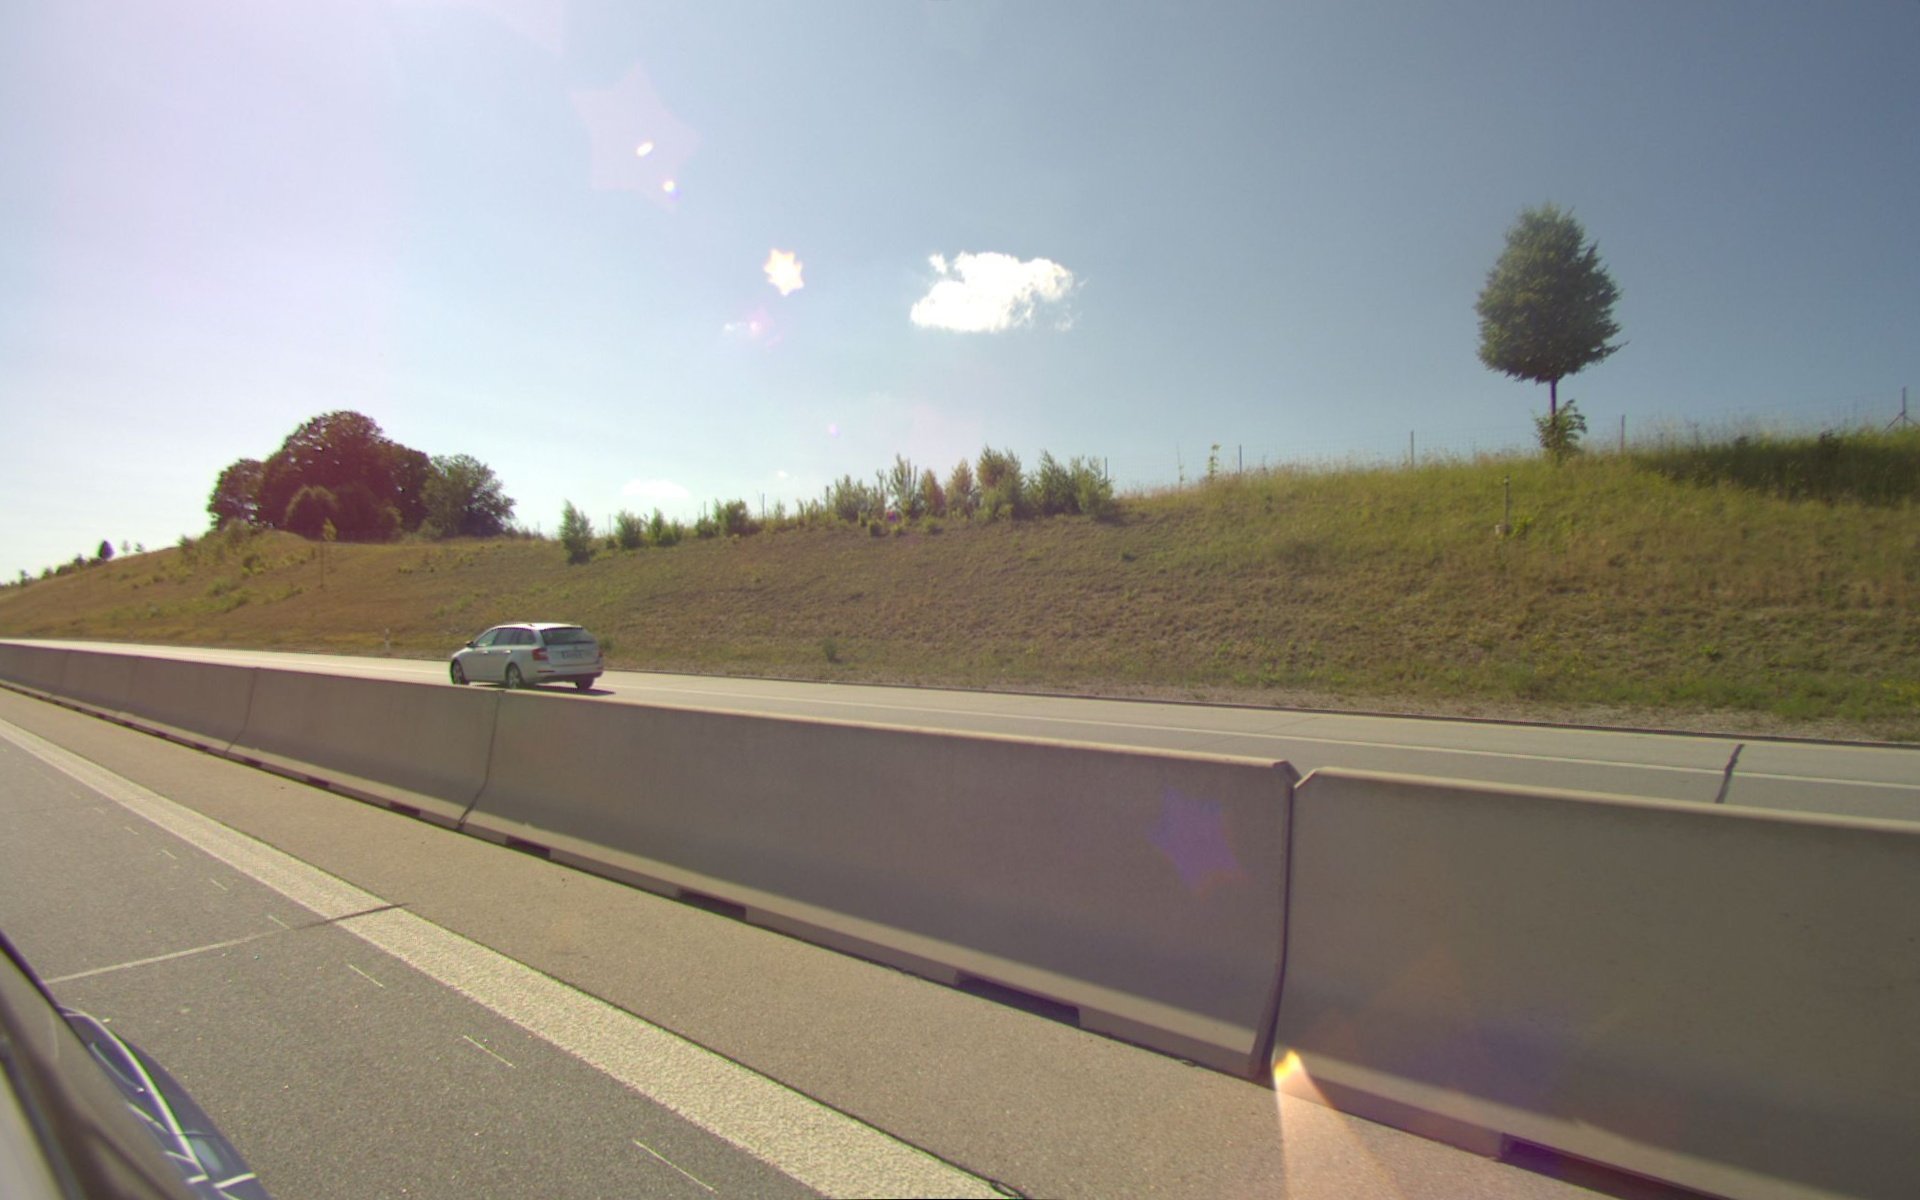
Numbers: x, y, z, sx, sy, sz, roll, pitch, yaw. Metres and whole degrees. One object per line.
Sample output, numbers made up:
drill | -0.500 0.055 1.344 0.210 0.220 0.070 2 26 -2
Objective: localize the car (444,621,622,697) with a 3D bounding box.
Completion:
car | -9.406 1.222 22.129 4.524 1.482 1.784 -1 -2 41
